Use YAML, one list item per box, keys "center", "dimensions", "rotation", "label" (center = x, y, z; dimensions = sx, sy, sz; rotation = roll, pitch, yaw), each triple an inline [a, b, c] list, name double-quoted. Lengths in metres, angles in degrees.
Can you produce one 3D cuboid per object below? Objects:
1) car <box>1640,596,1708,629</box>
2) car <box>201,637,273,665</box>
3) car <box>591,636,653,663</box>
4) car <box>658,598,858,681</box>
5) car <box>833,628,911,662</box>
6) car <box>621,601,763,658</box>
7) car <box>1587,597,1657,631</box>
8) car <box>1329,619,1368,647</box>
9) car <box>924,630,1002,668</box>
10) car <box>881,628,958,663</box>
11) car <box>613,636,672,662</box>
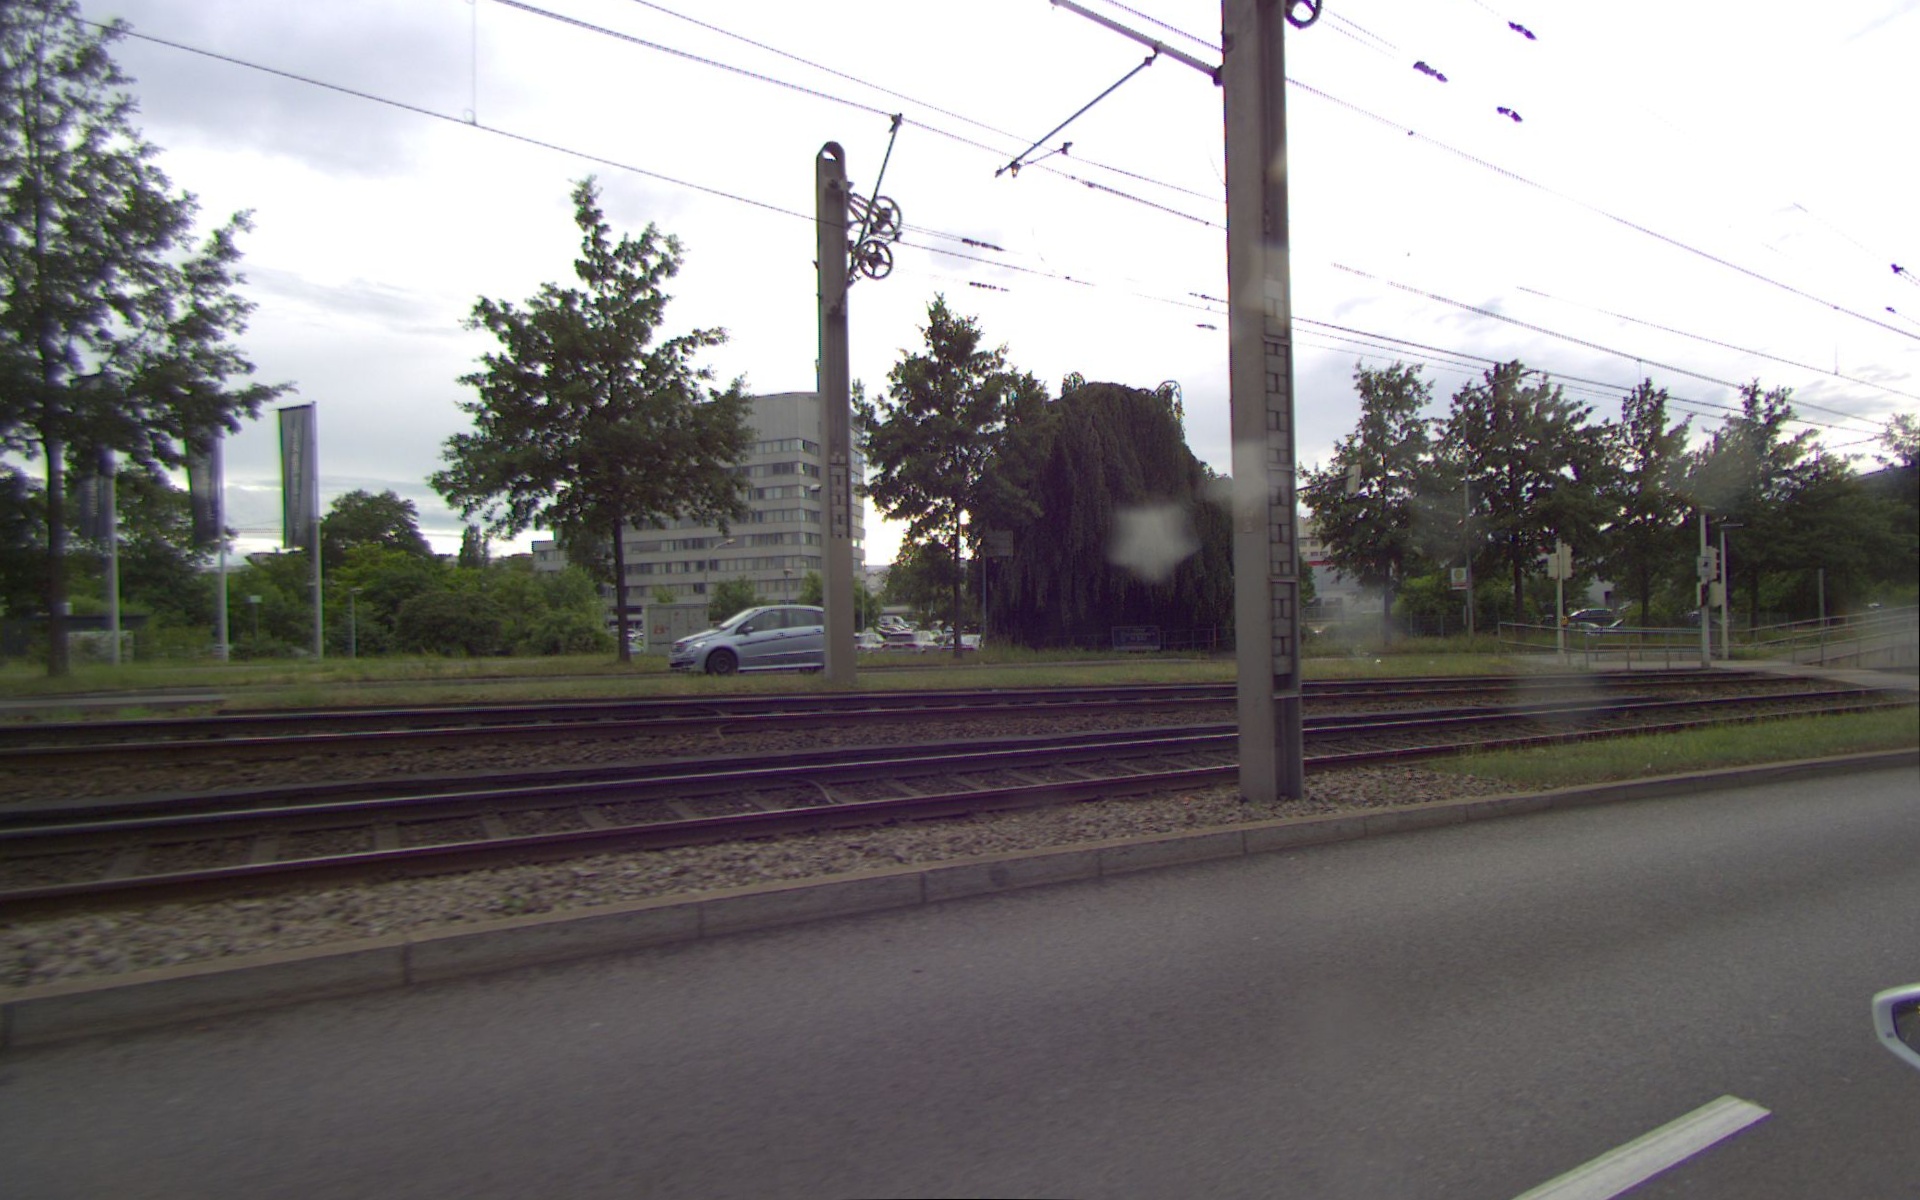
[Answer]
- center: [47.480, 0.819, 66.786]
  dimensions: [3.945, 2.040, 1.988]
  rotation: [2, -1, -25]
  label: "car"
- center: [-45.396, 3.201, 63.101]
  dimensions: [1.694, 1.618, 3.208]
  rotation: [2, -1, 23]
  label: "car"
- center: [-23.814, 3.454, 70.859]
  dimensions: [3.640, 1.696, 2.000]
  rotation: [2, -1, 21]
  label: "car"
- center: [-4.499, 0.840, 22.491]
  dimensions: [3.956, 1.702, 1.983]
  rotation: [1, 0, -32]
  label: "car"
- center: [-4.189, 2.150, 48.368]
  dimensions: [1.726, 1.514, 3.993]
  rotation: [2, -1, 29]
  label: "car"
- center: [-8.639, 0.967, 32.479]
  dimensions: [3.960, 1.672, 1.981]
  rotation: [3, -1, -35]
  label: "car"
- center: [42.645, 0.908, 64.734]
  dimensions: [3.945, 2.040, 1.988]
  rotation: [2, -1, -25]
  label: "car"
- center: [21.769, 1.864, 56.245]
  dimensions: [1.961, 1.433, 3.999]
  rotation: [2, -1, 22]
  label: "car"
- center: [0.175, 2.187, 45.330]
  dimensions: [1.962, 1.530, 3.997]
  rotation: [2, -1, 25]
  label: "car"
- center: [-1.859, 2.139, 47.425]
  dimensions: [1.726, 1.514, 3.993]
  rotation: [2, -1, 29]
  label: "car"
- center: [-23.024, 3.530, 72.869]
  dimensions: [3.640, 1.696, 2.000]
  rotation: [2, -1, 21]
  label: "car"
